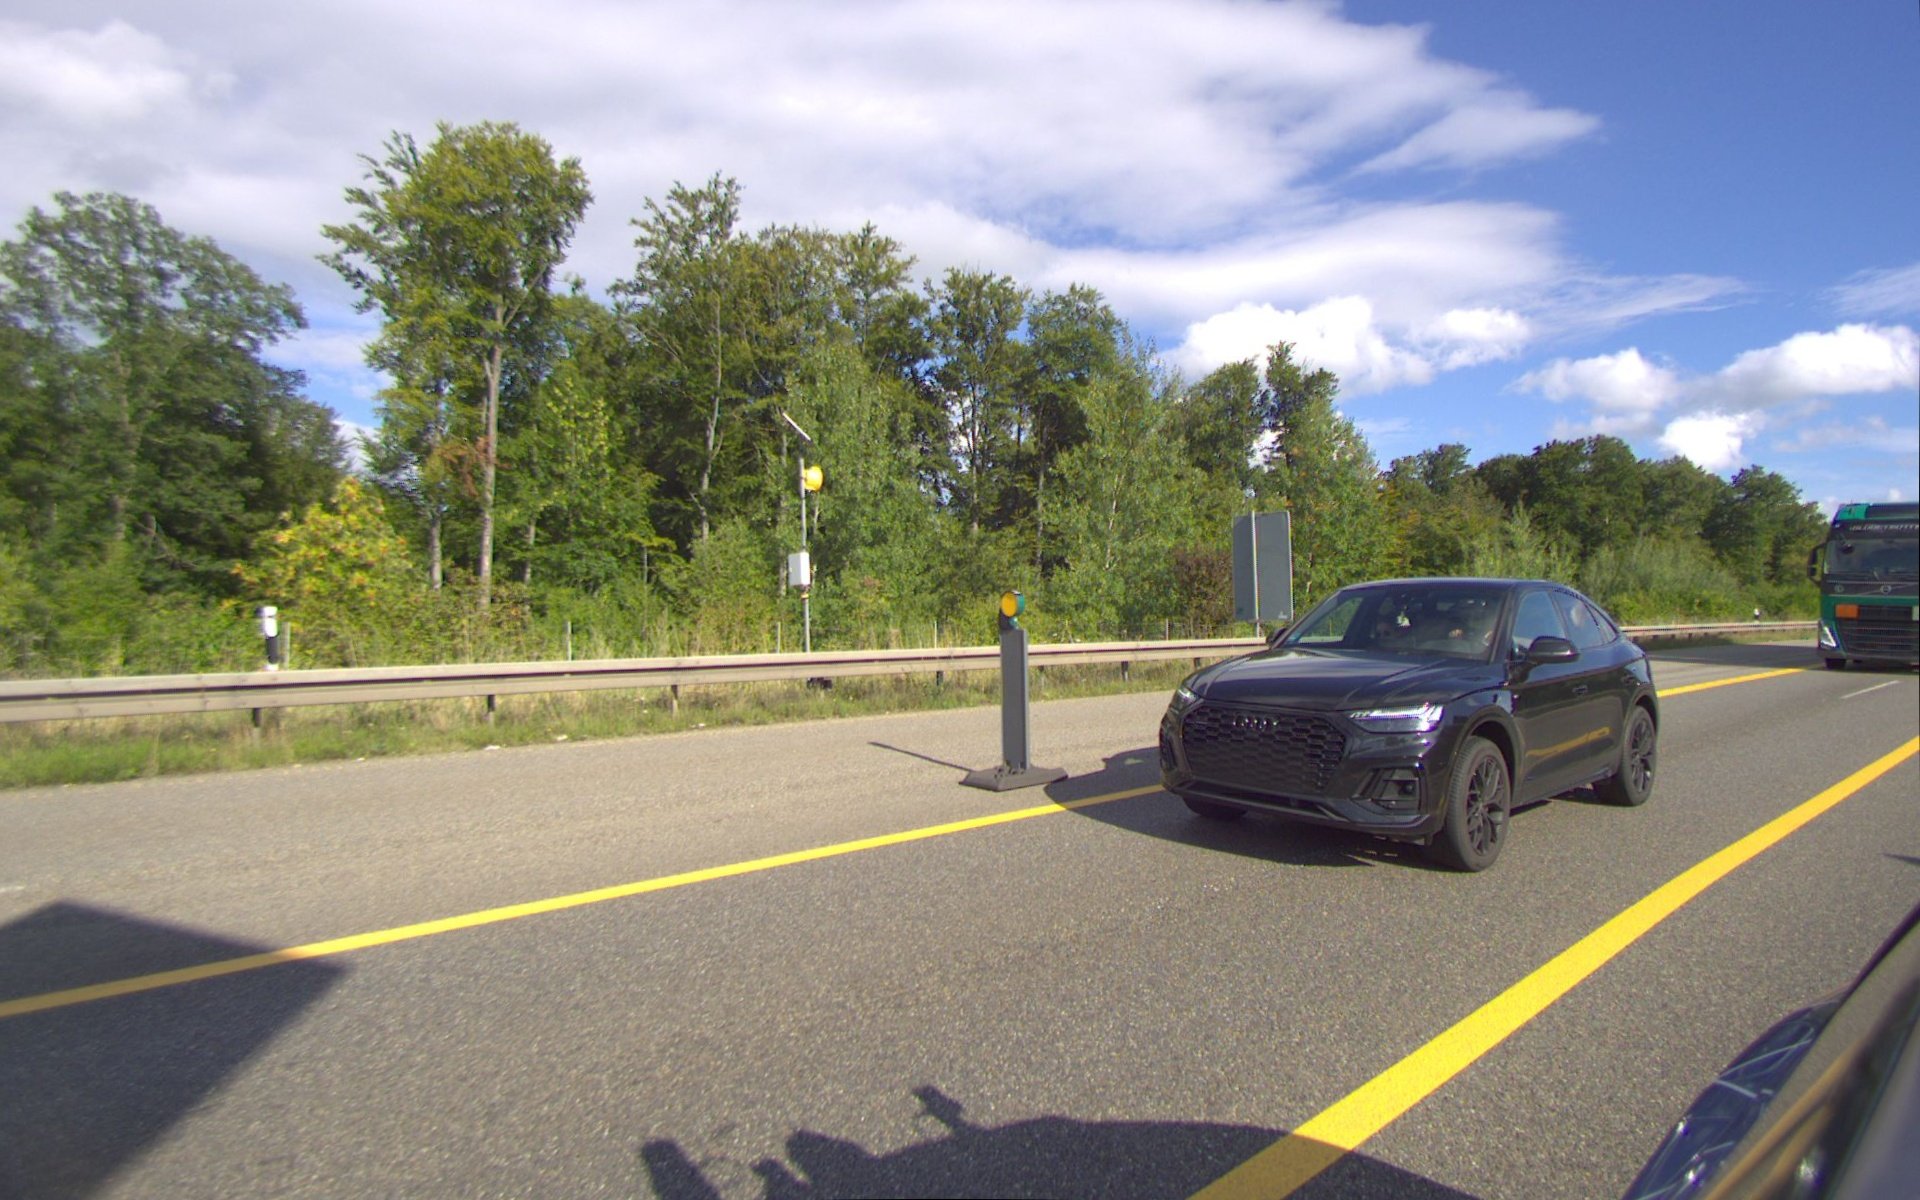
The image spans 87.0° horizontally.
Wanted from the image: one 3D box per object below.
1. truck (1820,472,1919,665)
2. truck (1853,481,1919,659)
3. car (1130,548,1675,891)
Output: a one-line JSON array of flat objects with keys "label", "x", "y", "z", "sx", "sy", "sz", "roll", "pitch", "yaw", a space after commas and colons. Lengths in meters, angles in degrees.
[{"label": "truck", "x": 23.016, "y": -0.690, "z": 24.194, "sx": 6.733, "sy": 4.151, "sz": 2.527, "roll": 0, "pitch": 0, "yaw": -39}, {"label": "truck", "x": 28.026, "y": -0.629, "z": 28.167, "sx": 13.952, "sy": 4.196, "sz": 2.470, "roll": 1, "pitch": -1, "yaw": -39}, {"label": "car", "x": 3.194, "y": 0.552, "z": 6.870, "sx": 4.219, "sy": 1.623, "sz": 1.781, "roll": 0, "pitch": 0, "yaw": -41}]
